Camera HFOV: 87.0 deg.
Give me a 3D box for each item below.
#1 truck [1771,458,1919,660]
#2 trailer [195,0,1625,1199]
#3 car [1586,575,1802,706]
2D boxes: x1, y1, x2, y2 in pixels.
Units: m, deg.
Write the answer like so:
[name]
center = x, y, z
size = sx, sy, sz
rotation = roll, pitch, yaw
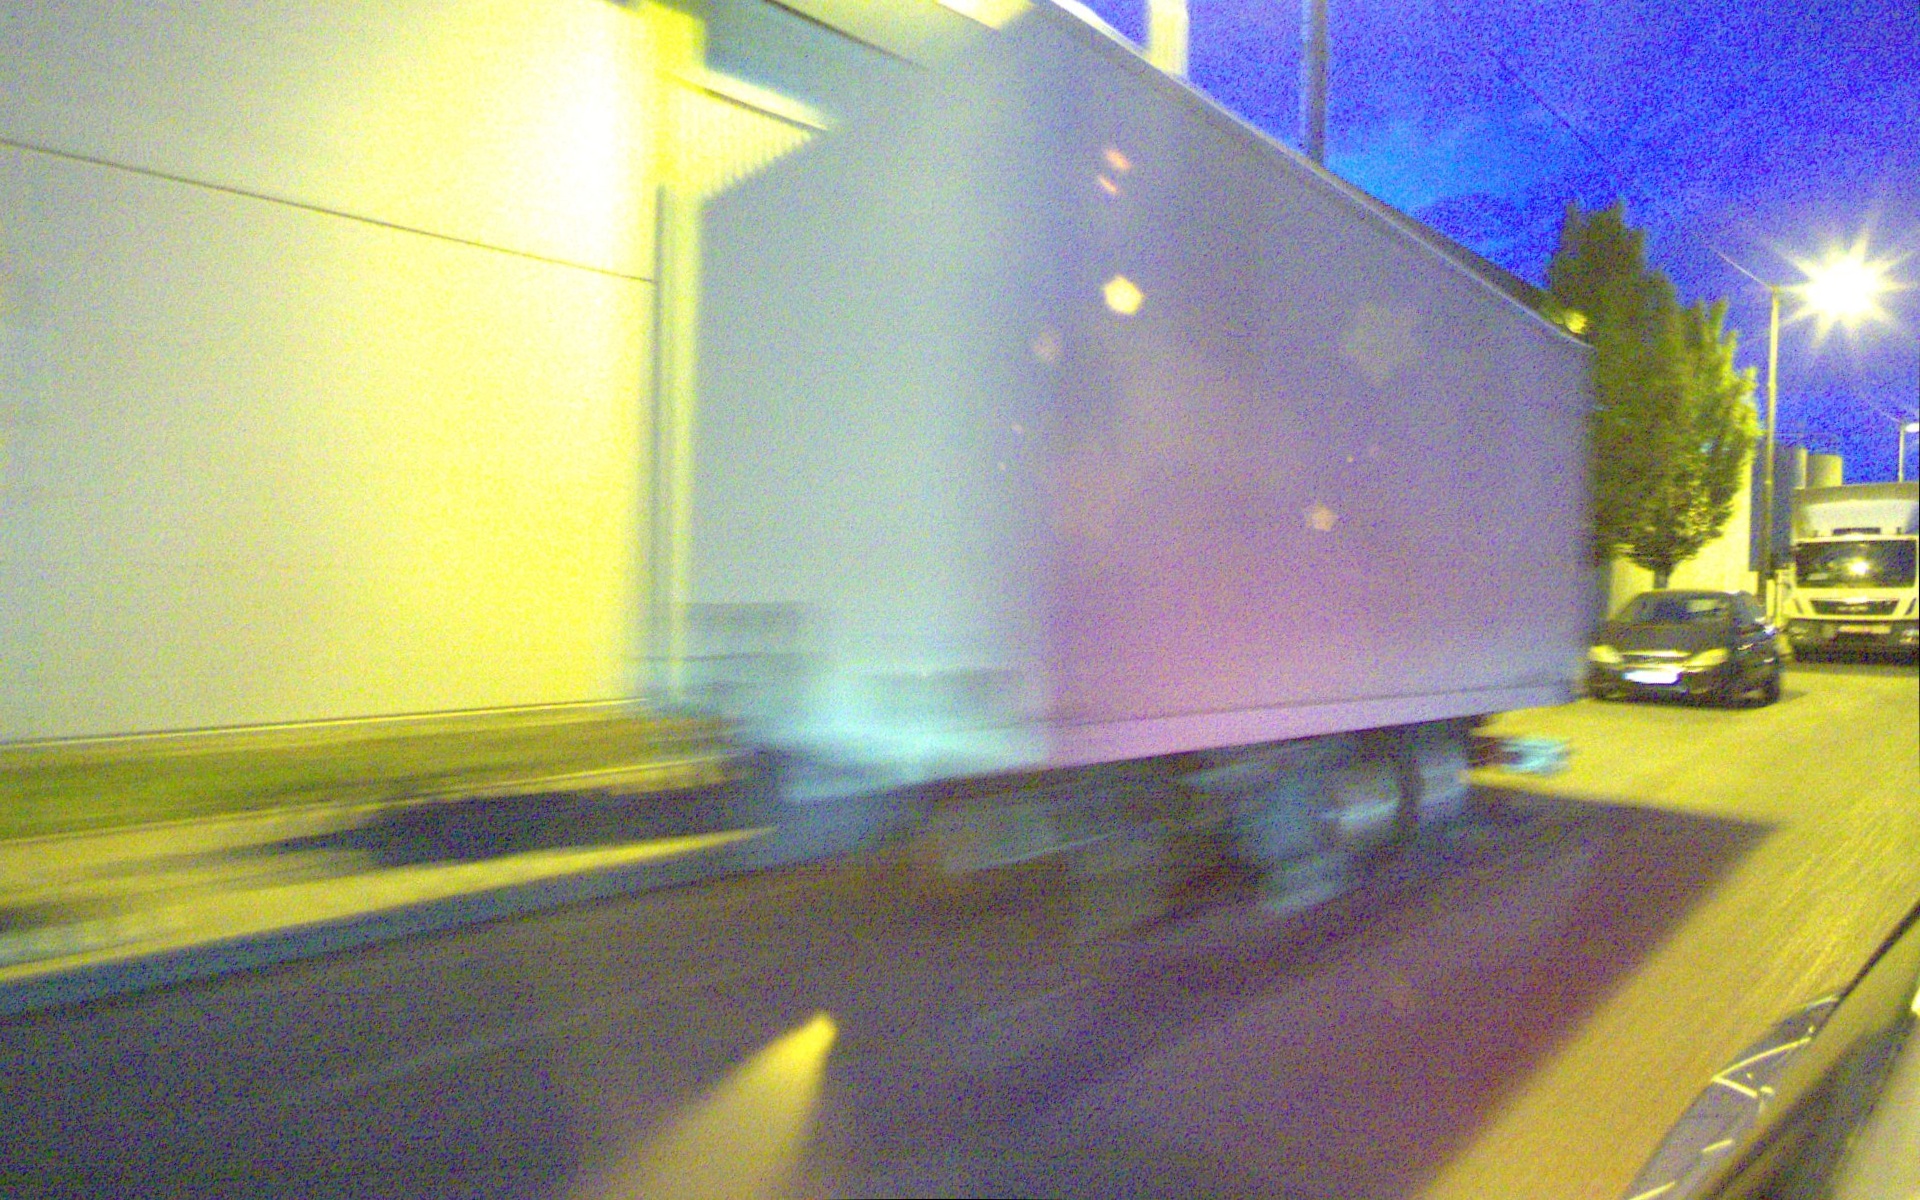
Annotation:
[truck]
center = 22.123, -0.795, 24.097
size = 9.649, 4.021, 2.795
rotation = 1, 0, -42
[trailer]
center = 0.884, -0.488, 5.754
size = 8.142, 3.568, 2.882
rotation = 0, 1, -42
[car]
center = 10.242, 0.474, 14.057
size = 3.415, 1.580, 1.684
rotation = 0, 1, -41
